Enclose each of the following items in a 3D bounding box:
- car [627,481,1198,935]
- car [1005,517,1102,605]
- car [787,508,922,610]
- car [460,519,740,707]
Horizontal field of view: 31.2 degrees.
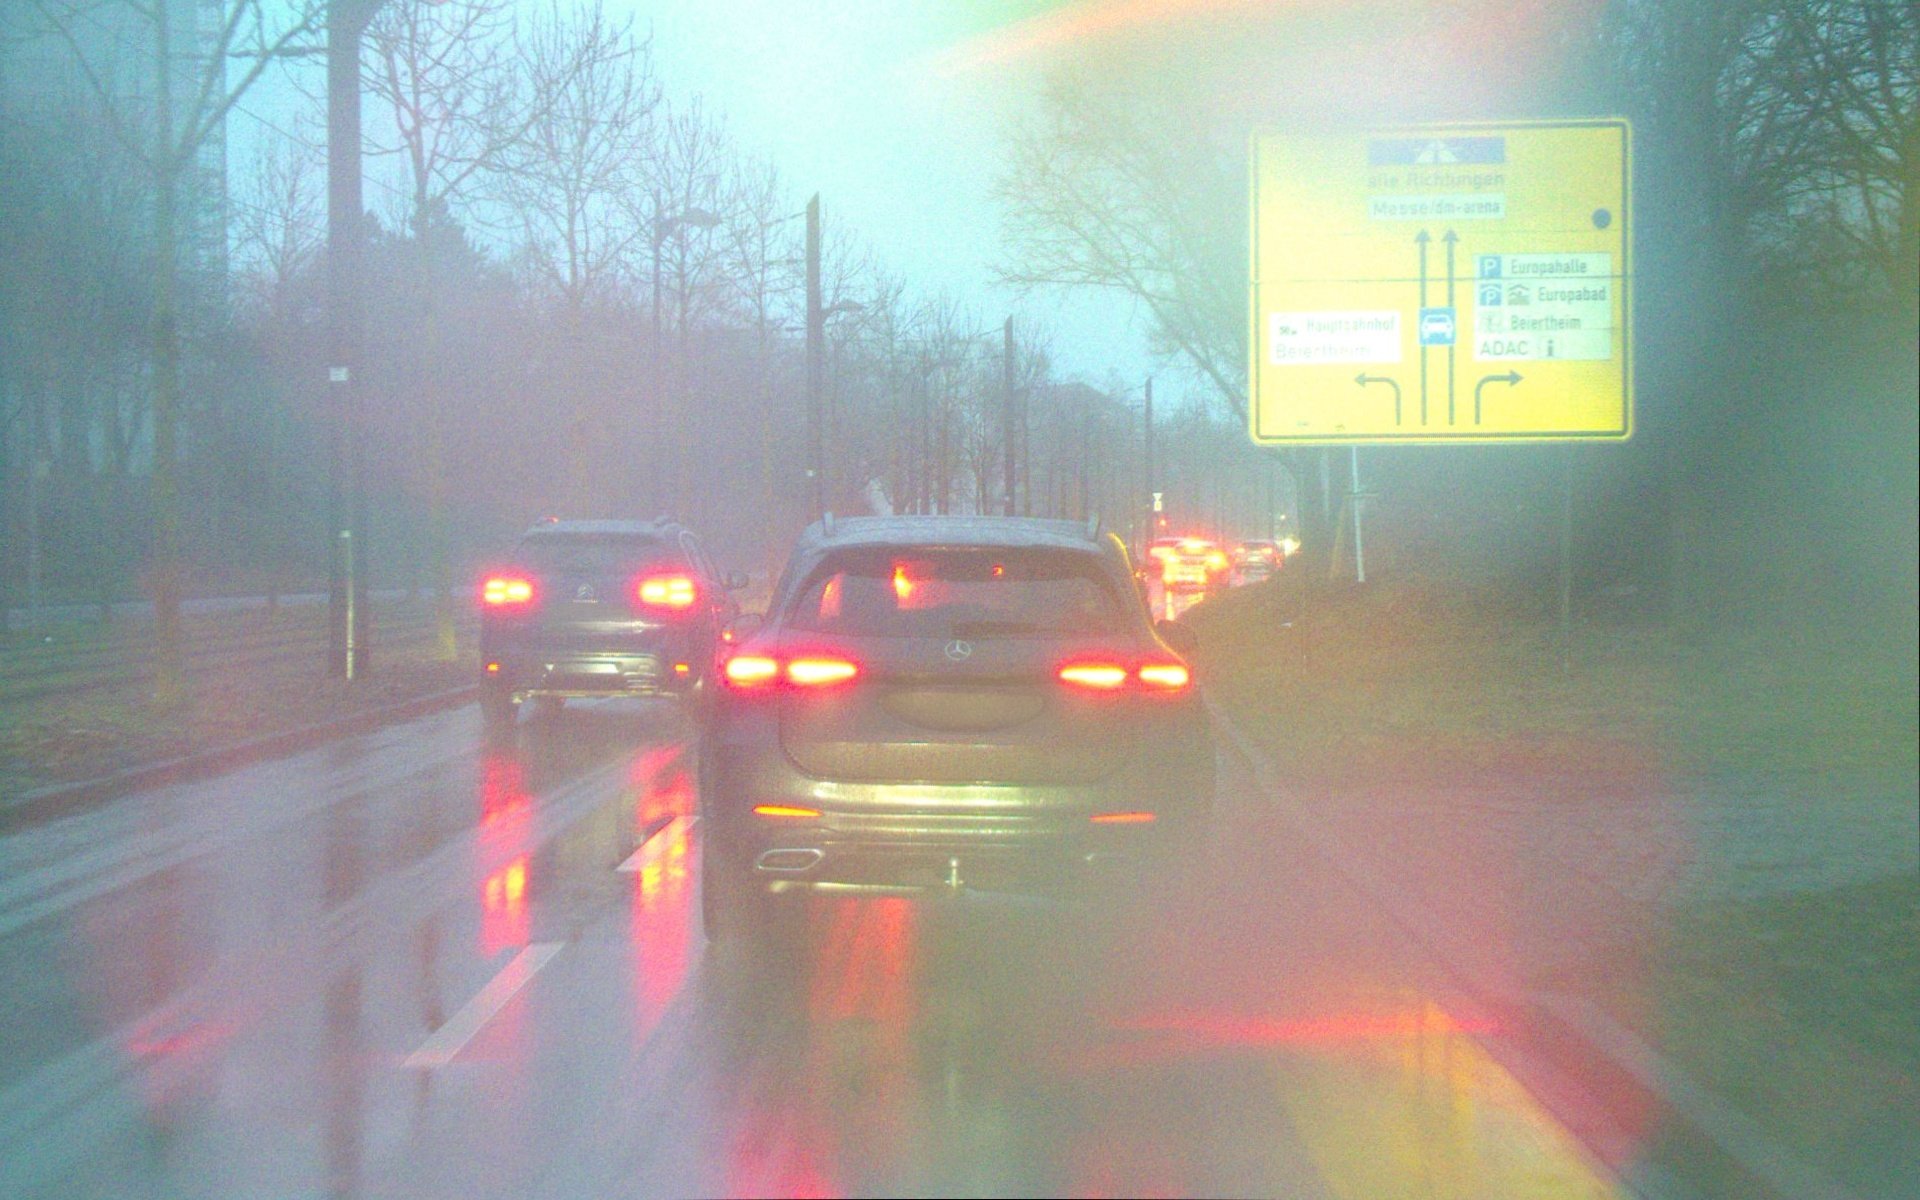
[{"bbox_3d":[-0.126,0.328,14.107,1.998,1.578,4.000,1,2,1],"label":"car"},{"bbox_3d":[1.732,-0.732,62.820,1.709,1.552,3.996,0,1,3],"label":"car"},{"bbox_3d":[-1.670,-0.698,55.803,1.880,1.588,4.000,0,2,3],"label":"car"},{"bbox_3d":[-2.968,0.053,29.113,1.880,1.454,4.000,0,2,1],"label":"car"}]
